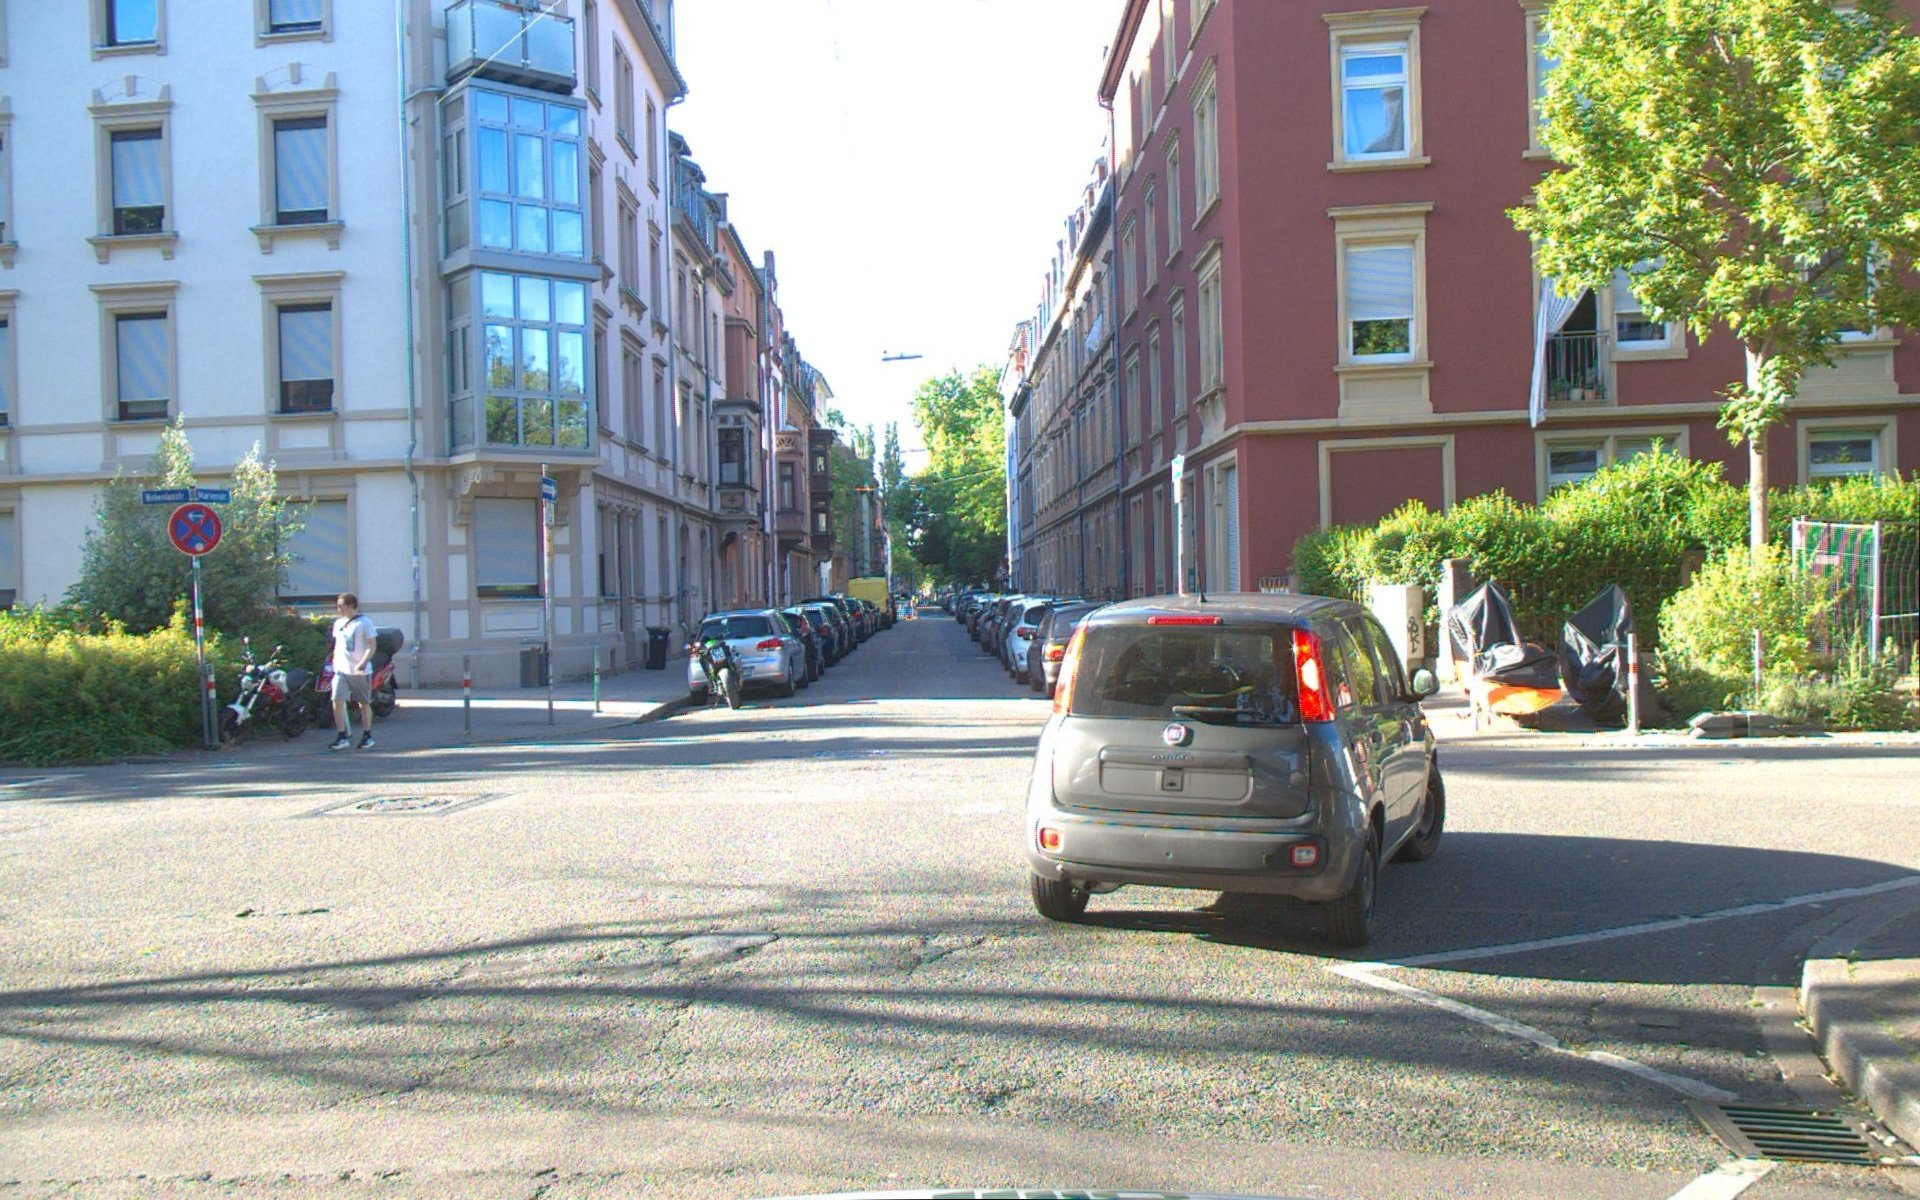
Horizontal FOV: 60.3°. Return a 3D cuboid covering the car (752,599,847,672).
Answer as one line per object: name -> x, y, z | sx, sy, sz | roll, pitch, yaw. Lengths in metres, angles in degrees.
car -> -3.816, 0.815, 39.984 | 1.788, 1.492, 3.925 | -5, 0, 0

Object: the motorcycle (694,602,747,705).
motorcycle -> -3.687, 0.791, 25.385 | 0.684, 1.486, 1.747 | -3, 0, -10

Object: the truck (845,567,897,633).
truck -> -4.345, -0.004, 81.289 | 2.029, 2.976, 5.067 | -5, 0, 0

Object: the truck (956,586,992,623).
truck -> 0.790, 0.261, 95.085 | 1.953, 2.026, 3.999 | -2, 0, -1

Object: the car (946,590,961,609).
car -> -0.583, -0.040, 150.262 | 1.340, 1.646, 3.413 | -2, 0, 0

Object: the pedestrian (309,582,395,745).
pedestrian -> -7.126, 0.734, 19.412 | 0.707, 1.871, 0.627 | -1, 0, 10

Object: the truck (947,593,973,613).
truck -> -0.002, 0.232, 129.264 | 1.953, 1.482, 3.999 | -2, 0, -1

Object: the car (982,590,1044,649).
car -> 1.452, 0.515, 46.404 | 1.629, 1.559, 3.757 | -1, 0, 0

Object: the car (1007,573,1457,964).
car -> 1.564, 0.653, 8.522 | 1.599, 1.577, 3.264 | 1, 1, 22

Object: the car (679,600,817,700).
car -> -3.598, 0.806, 28.684 | 1.760, 1.456, 3.925 | -5, 0, 0

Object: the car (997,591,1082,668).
car -> 1.661, 0.589, 35.414 | 1.629, 1.531, 3.757 | -1, 0, 0

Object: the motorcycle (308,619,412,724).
motorcycle -> -8.013, 0.929, 22.146 | 0.507, 1.316, 1.613 | 0, 0, 13

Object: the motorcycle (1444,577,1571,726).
motorcycle -> 5.873, 0.513, 17.870 | 0.998, 1.428, 2.194 | -2, 2, 11

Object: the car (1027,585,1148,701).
car -> 1.965, 0.629, 26.326 | 1.629, 1.698, 3.757 | -1, 0, 0

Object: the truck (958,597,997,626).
truck -> 0.920, 0.596, 89.705 | 1.953, 1.482, 3.999 | -2, 0, -1

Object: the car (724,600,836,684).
car -> -3.615, 0.806, 33.770 | 1.741, 1.437, 3.925 | -5, 0, 0

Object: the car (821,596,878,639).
car -> -4.462, 0.693, 67.175 | 1.922, 1.504, 3.925 | -5, 0, 0

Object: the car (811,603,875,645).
car -> -4.170, 0.835, 59.527 | 1.922, 1.245, 3.925 | -5, 0, 0

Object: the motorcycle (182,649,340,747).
motorcycle -> -8.327, 1.149, 19.786 | 0.675, 1.002, 1.822 | 2, 2, 19

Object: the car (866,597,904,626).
car -> -4.350, 0.647, 96.552 | 1.922, 1.504, 3.925 | -5, 0, 0

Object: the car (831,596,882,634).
car -> -4.624, 0.660, 74.182 | 1.922, 1.504, 3.925 | -5, 0, 0

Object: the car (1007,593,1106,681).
car -> 1.739, 0.642, 30.816 | 1.629, 1.531, 3.757 | -1, 0, 0

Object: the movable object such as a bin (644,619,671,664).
movable object such as a bin -> -6.678, 0.910, 36.517 | 0.501, 0.969, 0.501 | -2, 0, -4

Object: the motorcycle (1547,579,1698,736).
motorcycle -> 6.848, 0.540, 17.239 | 0.809, 1.428, 2.559 | -2, 2, 7

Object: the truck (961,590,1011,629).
truck -> 1.049, 0.377, 68.761 | 1.953, 1.482, 3.999 | -2, 0, -1

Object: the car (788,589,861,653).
car -> -4.070, 0.609, 50.240 | 1.739, 1.728, 3.925 | -5, 0, 0

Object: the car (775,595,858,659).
car -> -3.855, 0.701, 45.086 | 1.792, 1.504, 3.925 | -5, 0, 0

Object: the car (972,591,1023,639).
car -> 1.240, 0.465, 55.486 | 1.629, 1.531, 3.757 | -1, 0, 0

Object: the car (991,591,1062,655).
car -> 1.640, 0.551, 41.817 | 1.629, 1.531, 3.757 | -1, 0, 0
